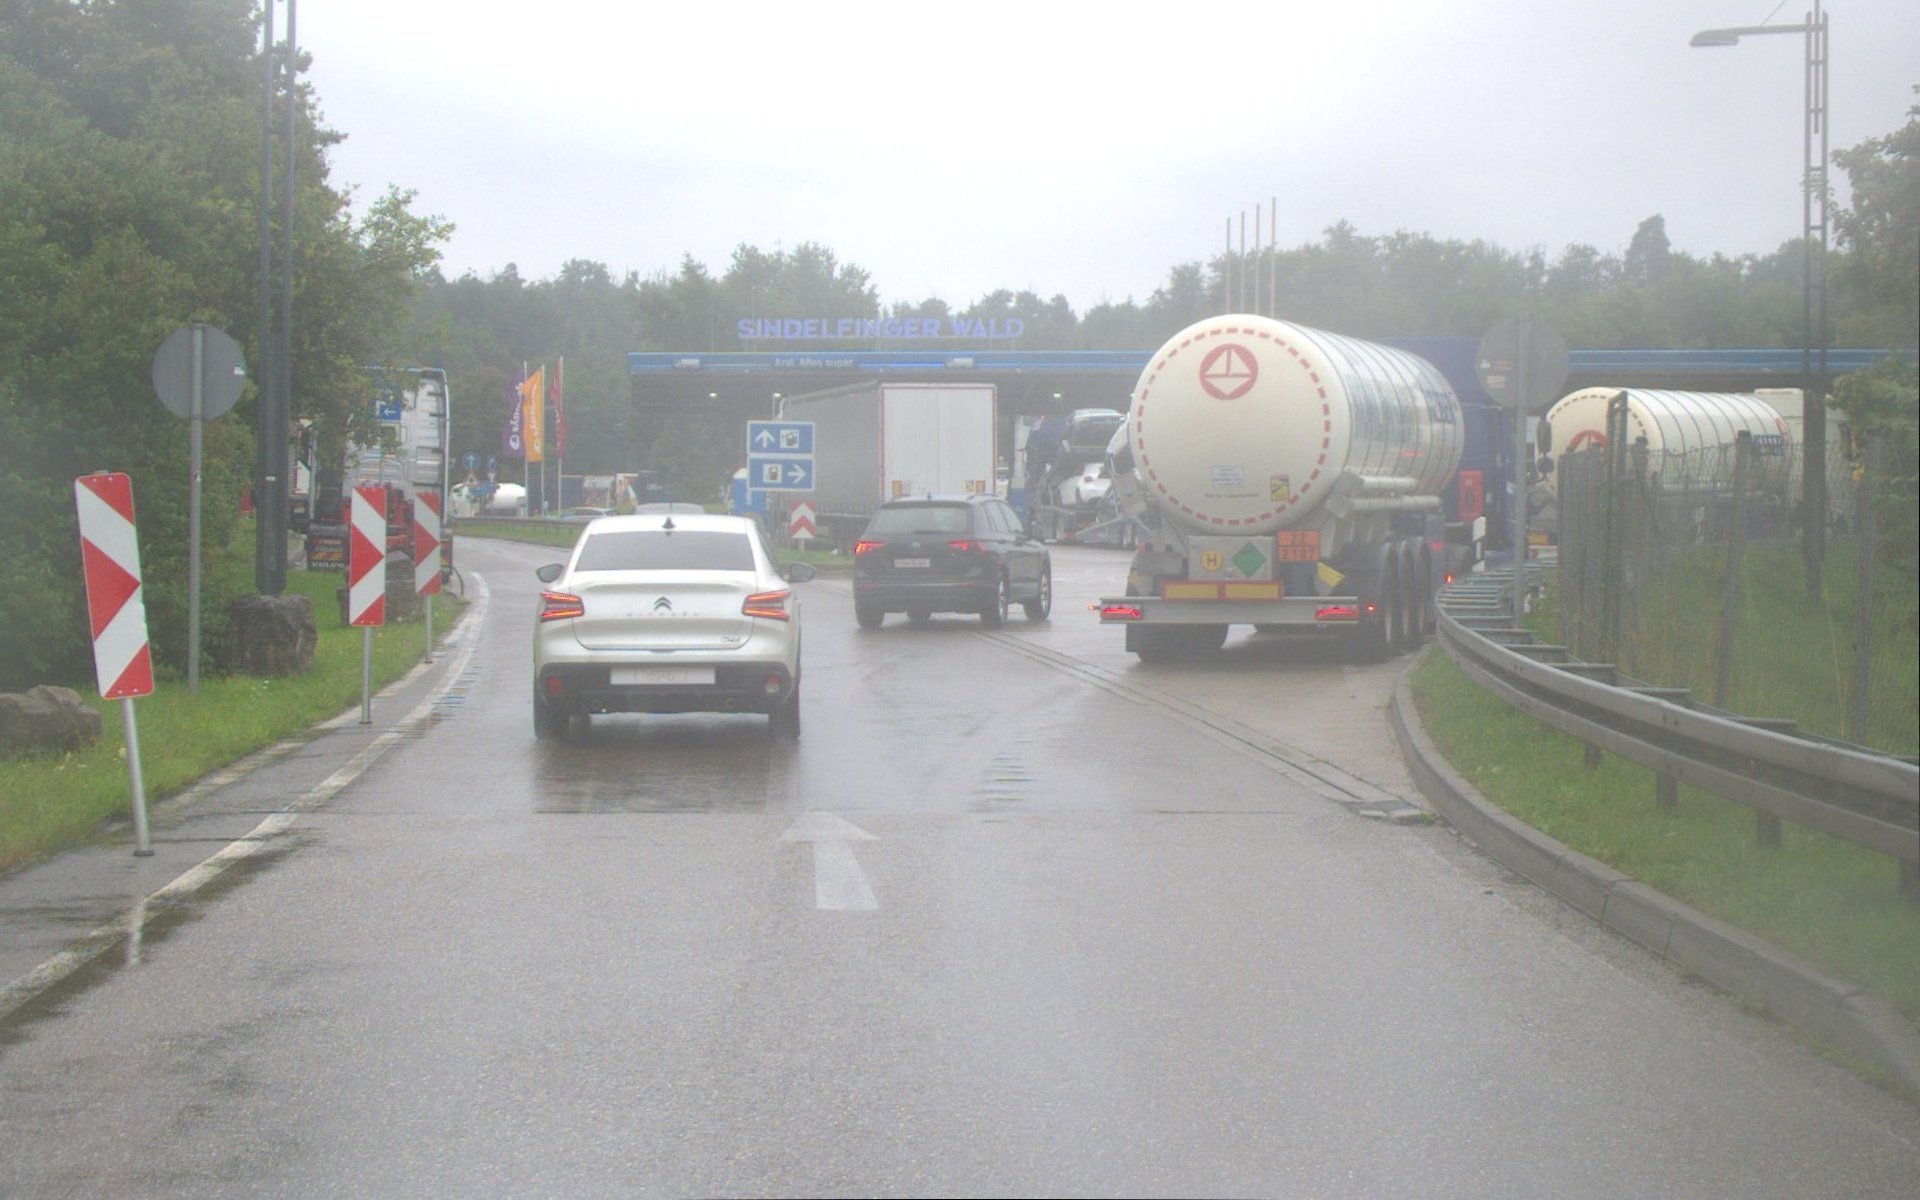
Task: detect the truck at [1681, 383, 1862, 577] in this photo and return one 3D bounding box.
[{"bbox_3d":[15.313,-2.255,64.676,2.149,3.501,4.639,1,2,28],"label":"truck"}]

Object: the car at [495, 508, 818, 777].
[{"bbox_3d":[-1.995,0.251,23.687,1.993,1.673,4.000,-1,0,-2],"label":"car"}]

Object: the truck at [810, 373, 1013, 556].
[{"bbox_3d":[-1.296,-3.106,79.115,2.370,3.860,12.459,-1,2,-12],"label":"truck"}]

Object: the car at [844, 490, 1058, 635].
[{"bbox_3d":[-0.057,-0.437,43.023,1.744,1.661,3.997,3,0,13],"label":"car"}]

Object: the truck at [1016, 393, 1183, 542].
[{"bbox_3d":[4.042,-3.945,101.998,3.233,4.174,8.447,1,2,-9],"label":"truck"}]

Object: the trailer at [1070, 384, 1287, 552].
[{"bbox_3d":[5.684,-3.545,92.144,3.215,4.174,11.533,1,2,-9],"label":"trailer"}]

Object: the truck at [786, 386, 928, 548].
[{"bbox_3d":[-2.630,-3.306,85.604,2.370,3.860,7.014,-1,2,-12],"label":"truck"}]

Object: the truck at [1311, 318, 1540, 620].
[{"bbox_3d":[5.839,-1.609,42.668,2.054,3.519,4.742,1,2,17],"label":"truck"}]

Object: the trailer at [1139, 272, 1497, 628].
[{"bbox_3d":[4.014,-1.509,36.227,1.982,3.213,10.314,1,2,16],"label":"trailer"}]

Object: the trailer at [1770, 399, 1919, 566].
[{"bbox_3d":[19.746,-2.496,73.134,2.187,3.380,7.549,1,2,35],"label":"trailer"}]

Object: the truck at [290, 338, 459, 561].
[{"bbox_3d":[-10.917,-2.750,63.699,2.914,3.891,6.319,0,2,-11],"label":"truck"}]

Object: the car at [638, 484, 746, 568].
[{"bbox_3d":[-4.904,-1.358,62.962,1.878,1.456,4.001,1,1,-5],"label":"car"}]

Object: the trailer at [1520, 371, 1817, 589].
[{"bbox_3d":[12.361,-2.054,59.164,2.134,3.428,10.237,1,2,28],"label":"trailer"}]
